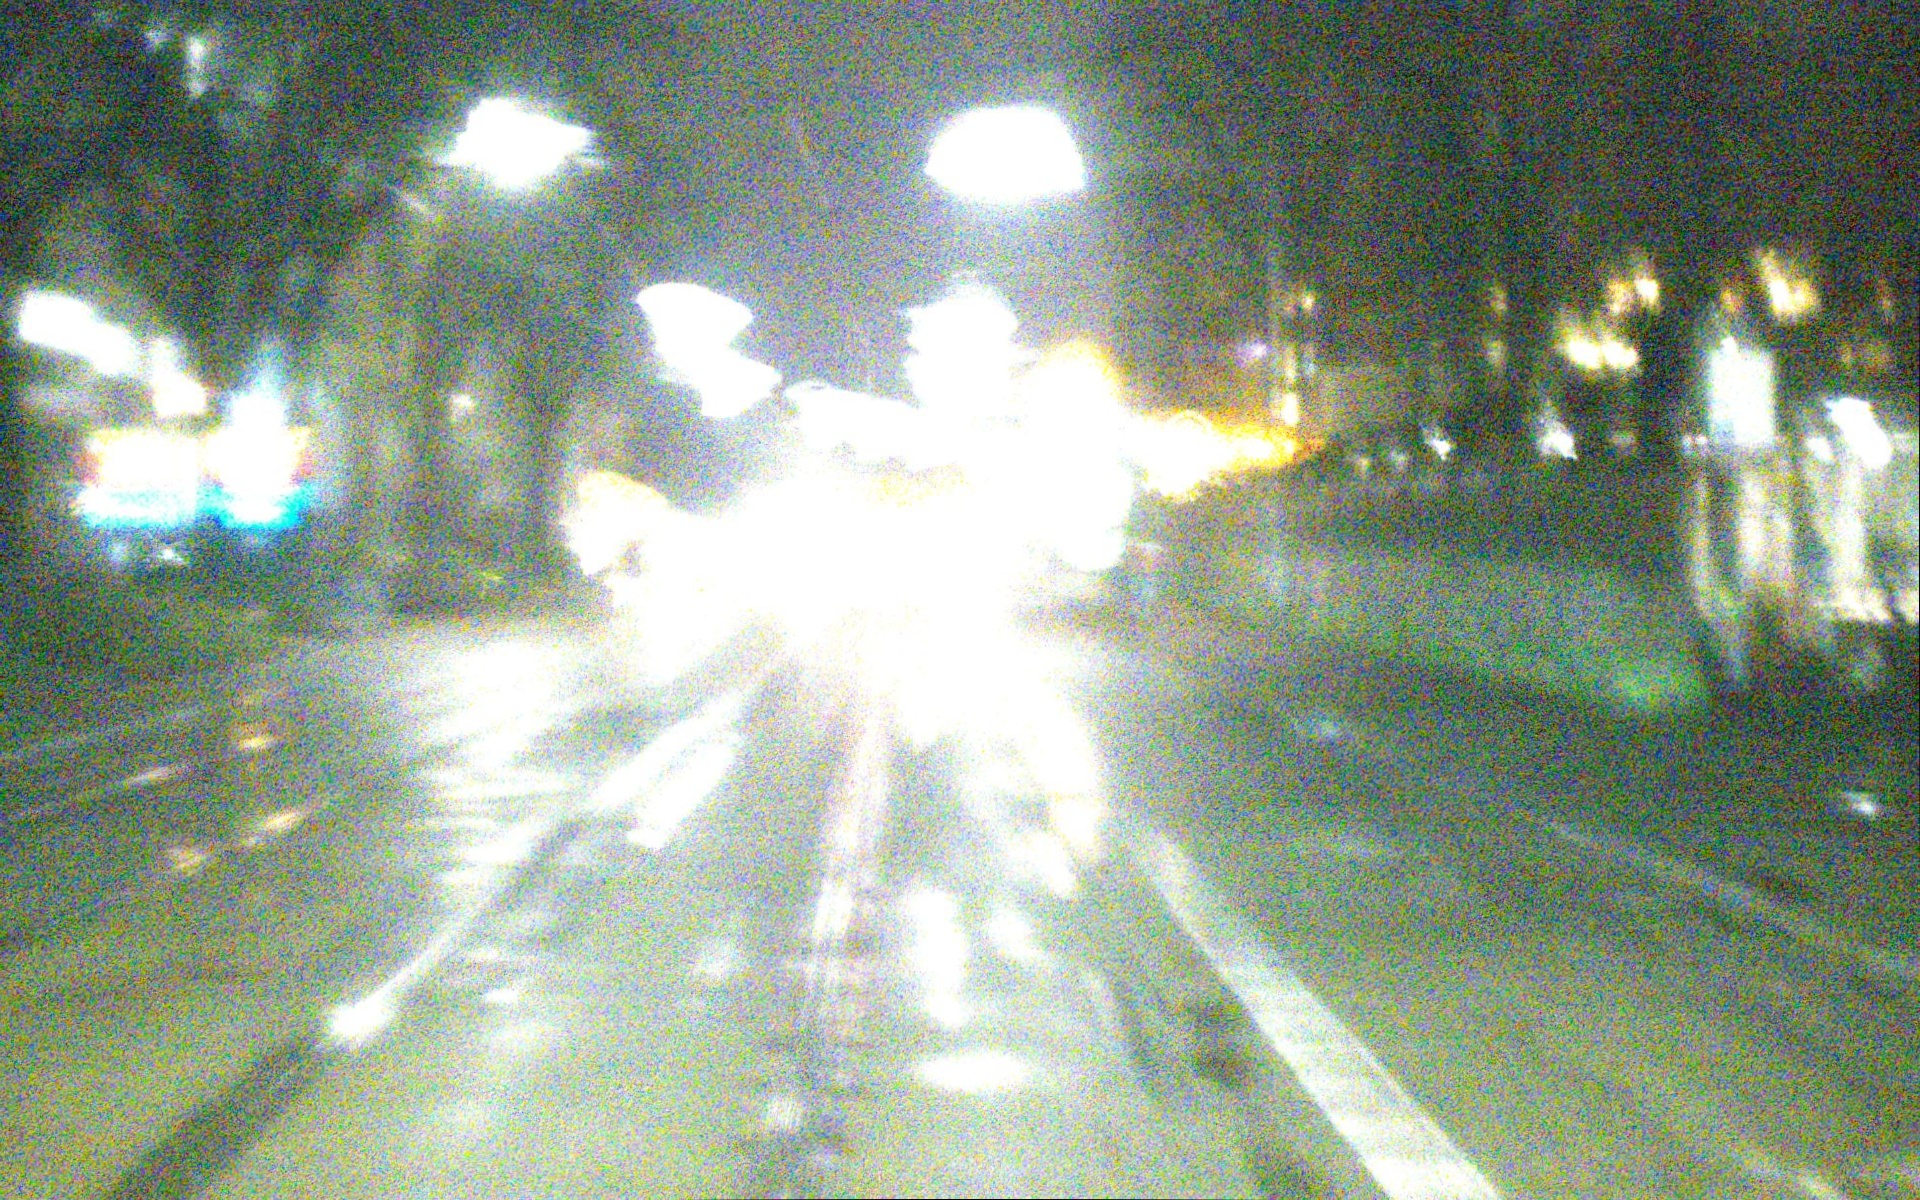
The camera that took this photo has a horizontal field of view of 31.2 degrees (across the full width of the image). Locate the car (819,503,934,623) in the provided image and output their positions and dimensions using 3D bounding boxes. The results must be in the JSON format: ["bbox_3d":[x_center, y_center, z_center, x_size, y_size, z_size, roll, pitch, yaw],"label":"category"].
[{"bbox_3d":[-1.741,-0.760,70.785,2.244,2.353,4.394,1,1,-2],"label":"car"}]
